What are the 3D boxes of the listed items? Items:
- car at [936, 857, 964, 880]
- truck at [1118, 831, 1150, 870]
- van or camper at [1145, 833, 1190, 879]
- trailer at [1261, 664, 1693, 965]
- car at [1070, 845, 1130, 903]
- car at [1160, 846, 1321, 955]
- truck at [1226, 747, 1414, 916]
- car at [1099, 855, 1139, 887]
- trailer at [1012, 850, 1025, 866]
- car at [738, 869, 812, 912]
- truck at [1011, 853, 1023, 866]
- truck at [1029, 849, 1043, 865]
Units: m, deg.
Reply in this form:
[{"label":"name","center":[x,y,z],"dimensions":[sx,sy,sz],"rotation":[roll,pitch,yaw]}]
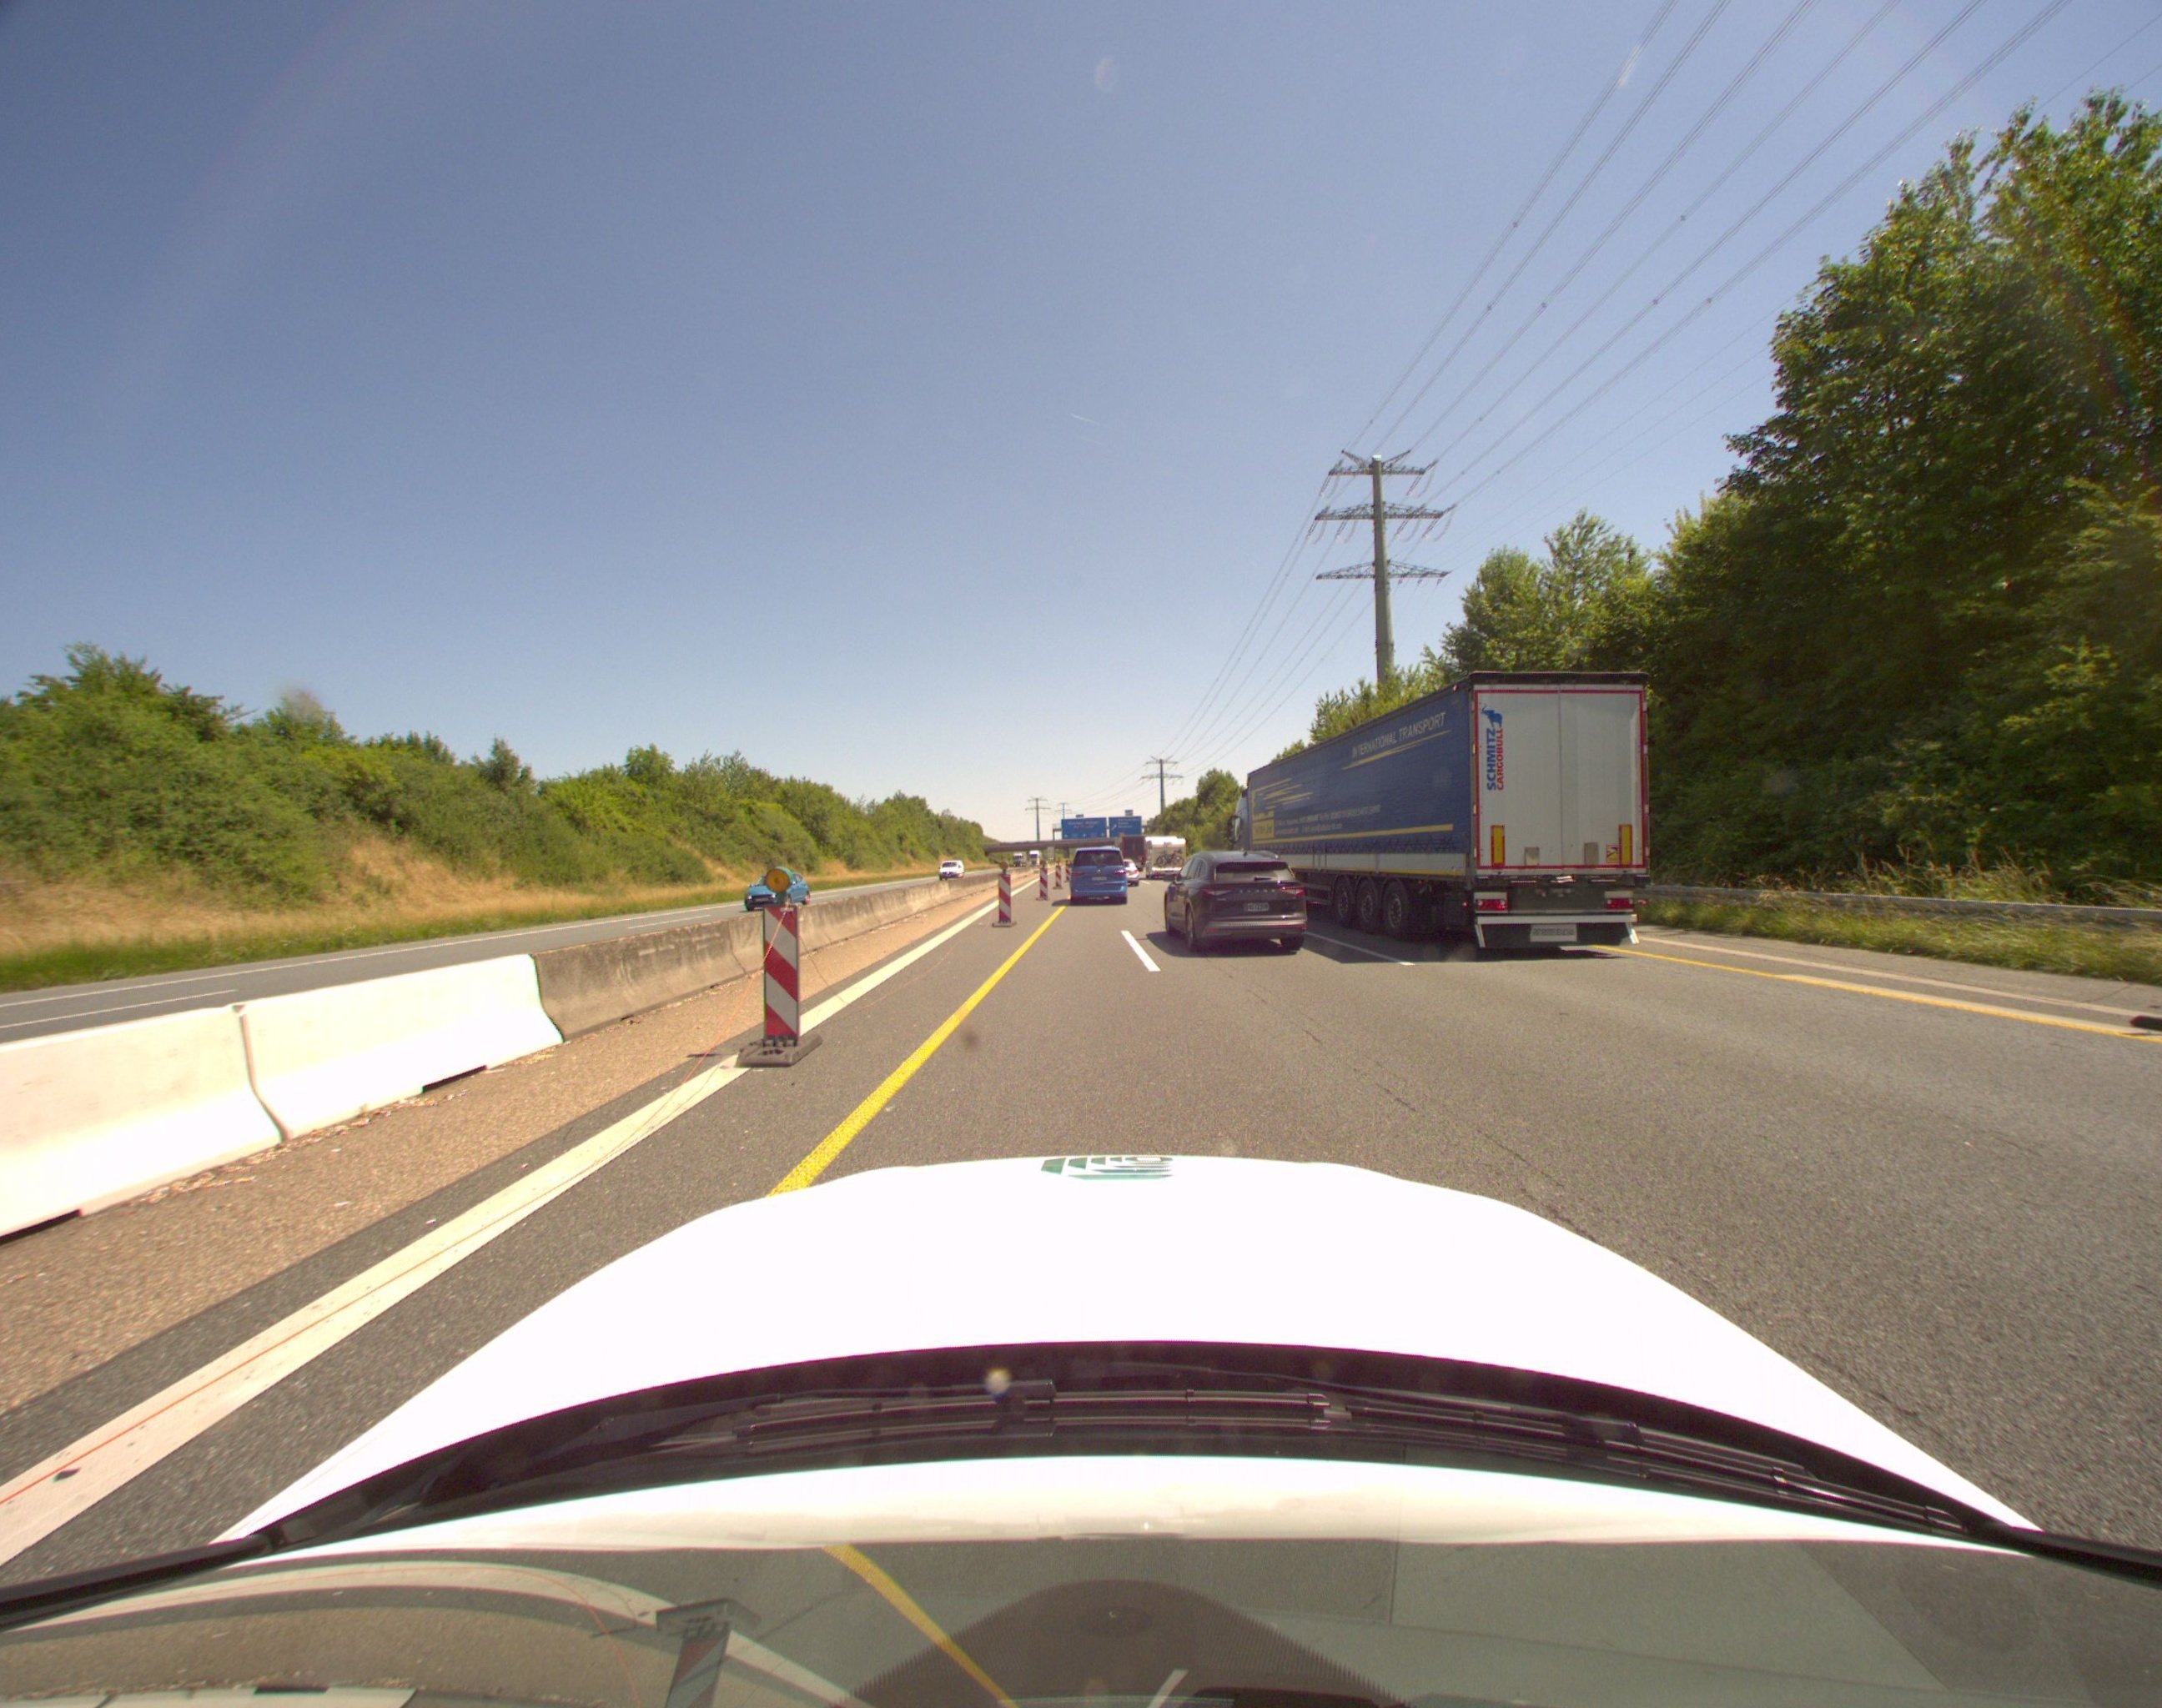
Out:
[{"label":"car","center":[-12.830,1.410,80.125],"dimensions":[1.957,2.085,4.936],"rotation":[-2,0,-1]},{"label":"truck","center":[5.918,-0.307,92.502],"dimensions":[3.067,4.146,13.056],"rotation":[0,0,1]},{"label":"van or camper","center":[5.950,0.124,56.806],"dimensions":[2.577,2.968,6.086],"rotation":[-1,0,1]},{"label":"trailer","center":[6.696,-0.528,16.870],"dimensions":[3.057,4.042,11.480],"rotation":[-1,0,-1]},{"label":"car","center":[0.576,0.694,28.188],"dimensions":[1.890,1.842,4.440],"rotation":[-1,-1,-1]},{"label":"car","center":[2.597,0.696,14.365],"dimensions":[1.890,1.592,4.440],"rotation":[-1,0,-1]},{"label":"truck","center":[6.548,-0.546,23.841],"dimensions":[3.016,4.087,7.791],"rotation":[-1,0,-1]},{"label":"car","center":[1.988,0.883,43.893],"dimensions":[1.890,1.509,4.441],"rotation":[1,1,-1]},{"label":"trailer","center":[-17.248,1.167,226.780],"dimensions":[2.472,4.180,12.082],"rotation":[-4,0,0]},{"label":"car","center":[-12.770,1.482,34.179],"dimensions":[1.886,1.517,3.475],"rotation":[-4,0,-4]},{"label":"truck","center":[-17.200,1.567,218.745],"dimensions":[2.456,3.288,6.922],"rotation":[-4,0,0]},{"label":"truck","center":[-12.480,0.750,225.432],"dimensions":[3.152,4.225,7.417],"rotation":[-2,-1,2]}]
